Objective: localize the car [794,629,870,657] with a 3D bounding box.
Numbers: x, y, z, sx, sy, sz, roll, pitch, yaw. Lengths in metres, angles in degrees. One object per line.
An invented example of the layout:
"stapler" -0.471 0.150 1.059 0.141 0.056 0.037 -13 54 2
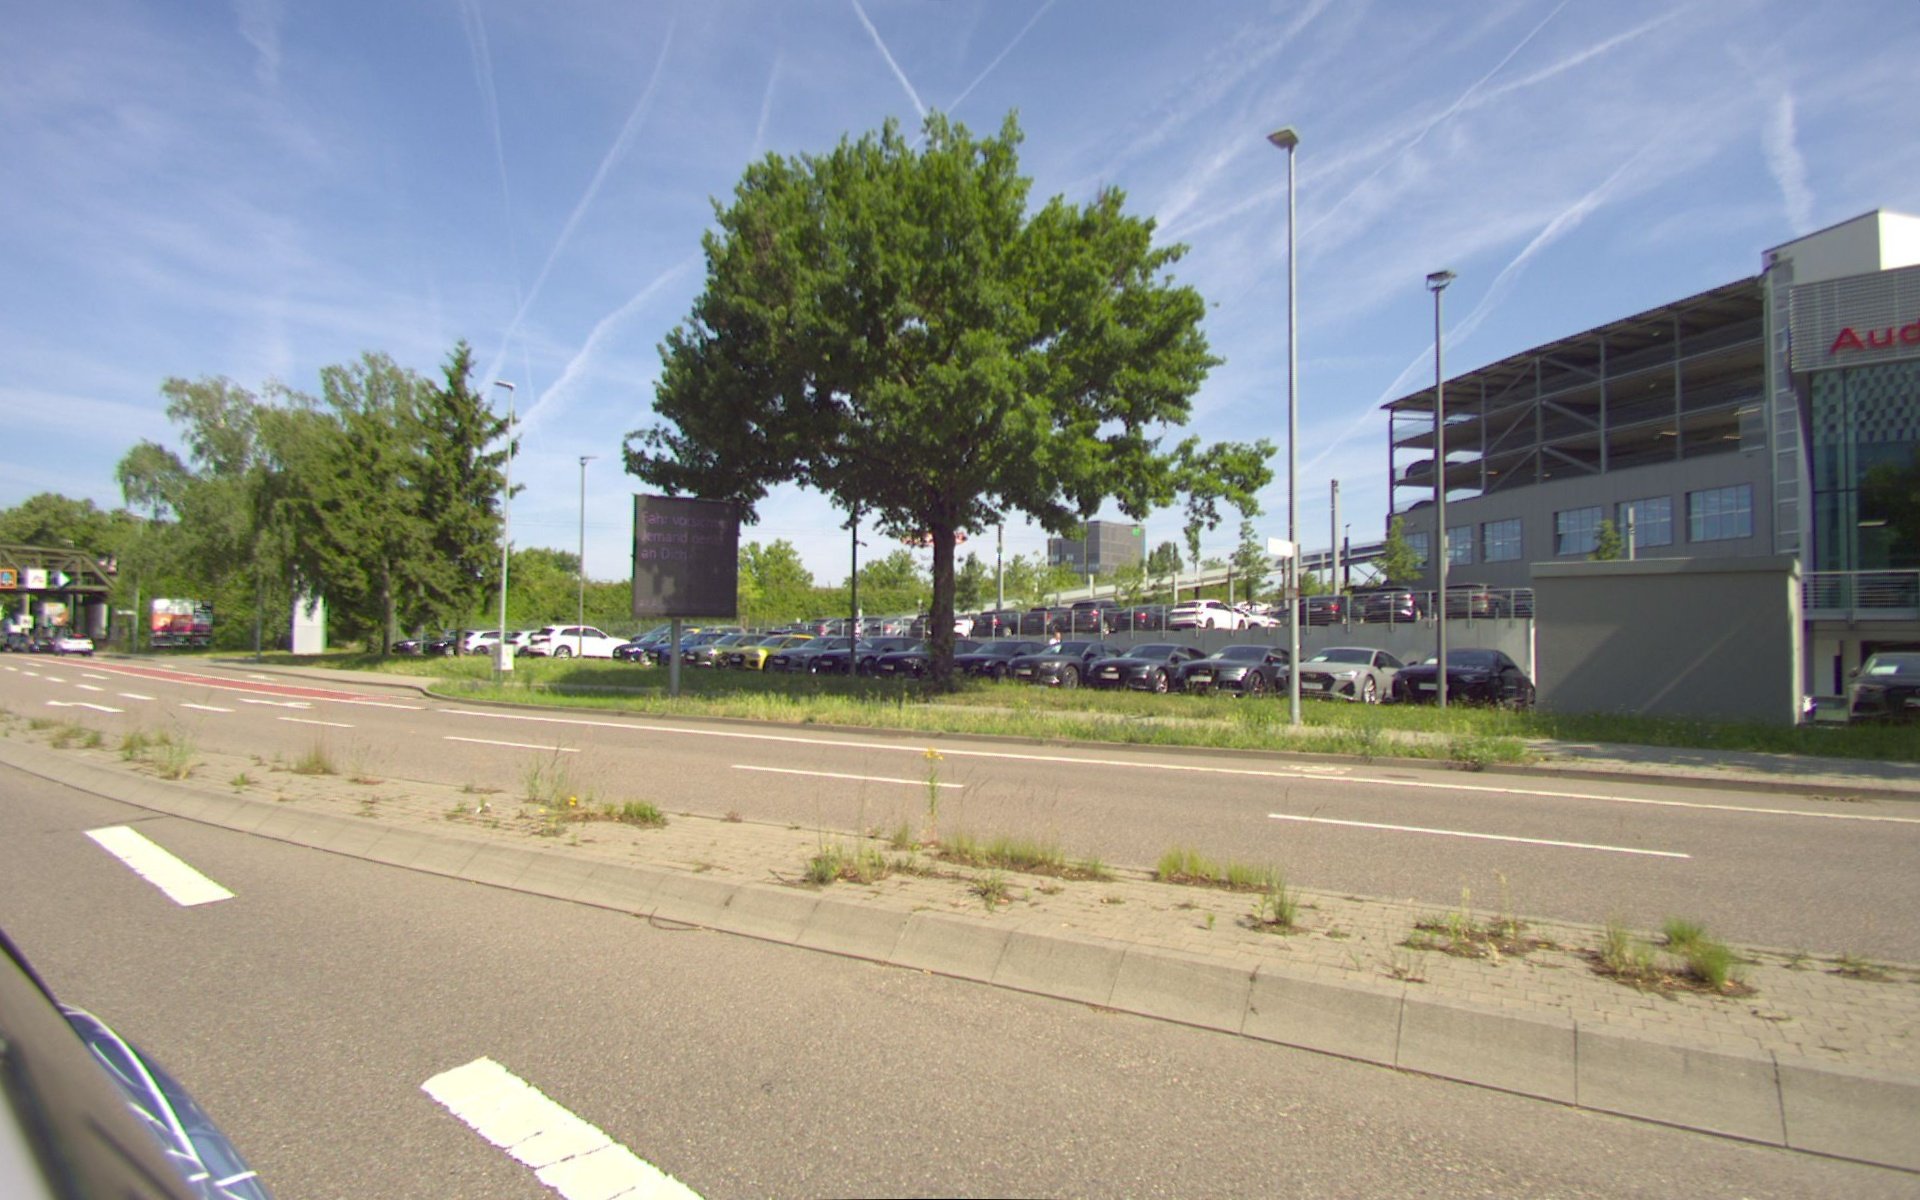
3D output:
"car" -7.327 2.438 58.099 1.997 1.488 4.162 -2 -2 38

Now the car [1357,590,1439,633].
"car" 16.101 0.441 37.137 1.667 1.507 3.946 -2 -2 41

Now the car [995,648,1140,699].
"car" 3.074 1.986 28.093 1.917 1.300 4.455 -2 -3 39

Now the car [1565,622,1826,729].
"car" 14.463 1.429 20.014 3.998 1.891 1.973 -2 -4 41

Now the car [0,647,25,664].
"car" -83.480 4.843 88.819 4.316 1.398 1.618 -2 -4 42

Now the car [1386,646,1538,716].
"car" 10.575 1.623 21.147 1.917 1.300 4.455 -2 -3 39

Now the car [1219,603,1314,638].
"car" 14.295 0.971 47.315 3.786 1.586 1.931 -2 -2 41

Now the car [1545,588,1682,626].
"car" 26.834 0.304 41.625 4.589 1.475 1.928 0 -2 -10

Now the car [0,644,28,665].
"car" -89.116 5.086 94.751 5.448 1.875 1.973 -2 -6 41

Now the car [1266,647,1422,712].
"car" 8.752 1.736 22.868 2.002 1.300 4.455 -2 -3 39

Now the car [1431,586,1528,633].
"car" 18.128 0.348 35.233 1.985 1.507 4.473 -2 -2 41

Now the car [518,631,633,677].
"car" -17.109 2.379 45.199 2.000 1.889 4.415 -2 -2 42

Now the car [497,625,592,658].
"car" -20.457 2.025 49.874 1.848 1.497 3.941 -2 -2 45

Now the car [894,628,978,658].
"car" -1.207 2.283 52.862 1.978 1.496 4.455 -2 -3 39

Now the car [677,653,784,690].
"car" -8.632 2.726 38.264 1.661 1.295 3.705 -2 -5 39

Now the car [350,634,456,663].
"car" -29.874 2.577 54.391 1.999 1.400 4.638 -2 -2 41

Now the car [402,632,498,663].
"car" -27.236 2.523 54.107 1.999 1.558 4.170 -2 -2 41

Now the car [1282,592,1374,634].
"car" 14.147 0.509 38.838 2.050 1.507 3.946 -2 -2 41

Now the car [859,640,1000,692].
"car" -0.875 2.022 31.574 1.978 1.487 4.455 -2 -3 39

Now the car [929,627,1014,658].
"car" 0.620 2.195 51.407 1.978 1.496 4.455 -2 -3 39

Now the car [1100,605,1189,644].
"car" 8.145 1.120 44.532 1.978 1.563 4.455 -2 -3 39

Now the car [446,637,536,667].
"car" -23.137 2.545 50.035 1.815 1.381 3.642 -2 -2 41

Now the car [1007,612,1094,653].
"car" 4.314 1.556 47.776 1.978 1.829 4.455 -2 -3 39

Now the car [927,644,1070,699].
"car" 1.216 2.059 29.807 1.917 1.487 4.455 -2 -3 39

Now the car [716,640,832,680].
"car" -6.720 2.206 36.803 1.838 1.351 3.848 -2 -5 39

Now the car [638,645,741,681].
"car" -10.589 2.495 39.802 1.743 1.295 3.558 -2 -5 39

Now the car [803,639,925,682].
"car" -3.105 1.990 33.188 1.983 1.295 3.643 -2 -5 39

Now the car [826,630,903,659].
"car" -5.291 2.454 56.431 1.997 1.488 4.162 -2 -2 38

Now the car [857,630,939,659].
"car" -3.287 2.372 54.480 1.889 1.429 4.455 -2 -2 39

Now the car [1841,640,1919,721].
"car" 15.600 1.353 16.336 1.895 1.165 3.947 -2 -7 39

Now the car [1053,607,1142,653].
"car" 6.305 1.412 46.026 1.978 1.977 4.455 -2 -3 39

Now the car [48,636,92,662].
"car" -60.698 3.332 69.010 1.970 1.630 4.106 5 -5 -44

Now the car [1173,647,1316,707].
"car" 6.950 1.801 24.425 1.690 1.300 4.455 -2 -3 39

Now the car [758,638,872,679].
"car" -4.978 2.042 35.039 1.863 1.295 3.558 -2 -5 39

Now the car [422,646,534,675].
"car" -24.464 3.034 51.521 1.999 1.278 4.801 -2 -2 41

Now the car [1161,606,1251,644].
"car" 10.407 1.086 42.669 1.978 1.496 4.455 -2 -3 39

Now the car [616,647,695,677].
"car" -17.886 3.621 59.527 1.803 1.576 4.200 -2 -2 39

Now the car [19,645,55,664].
"car" -75.414 4.455 82.672 4.025 1.530 1.680 -2 -5 41

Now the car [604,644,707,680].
"car" -12.511 2.520 41.708 1.743 1.295 3.753 -2 -2 39

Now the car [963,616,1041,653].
"car" 2.119 1.736 49.622 1.663 1.718 4.226 -2 -3 39

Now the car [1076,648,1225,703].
"car" 5.030 1.901 26.280 1.917 1.300 4.455 -2 -3 39
